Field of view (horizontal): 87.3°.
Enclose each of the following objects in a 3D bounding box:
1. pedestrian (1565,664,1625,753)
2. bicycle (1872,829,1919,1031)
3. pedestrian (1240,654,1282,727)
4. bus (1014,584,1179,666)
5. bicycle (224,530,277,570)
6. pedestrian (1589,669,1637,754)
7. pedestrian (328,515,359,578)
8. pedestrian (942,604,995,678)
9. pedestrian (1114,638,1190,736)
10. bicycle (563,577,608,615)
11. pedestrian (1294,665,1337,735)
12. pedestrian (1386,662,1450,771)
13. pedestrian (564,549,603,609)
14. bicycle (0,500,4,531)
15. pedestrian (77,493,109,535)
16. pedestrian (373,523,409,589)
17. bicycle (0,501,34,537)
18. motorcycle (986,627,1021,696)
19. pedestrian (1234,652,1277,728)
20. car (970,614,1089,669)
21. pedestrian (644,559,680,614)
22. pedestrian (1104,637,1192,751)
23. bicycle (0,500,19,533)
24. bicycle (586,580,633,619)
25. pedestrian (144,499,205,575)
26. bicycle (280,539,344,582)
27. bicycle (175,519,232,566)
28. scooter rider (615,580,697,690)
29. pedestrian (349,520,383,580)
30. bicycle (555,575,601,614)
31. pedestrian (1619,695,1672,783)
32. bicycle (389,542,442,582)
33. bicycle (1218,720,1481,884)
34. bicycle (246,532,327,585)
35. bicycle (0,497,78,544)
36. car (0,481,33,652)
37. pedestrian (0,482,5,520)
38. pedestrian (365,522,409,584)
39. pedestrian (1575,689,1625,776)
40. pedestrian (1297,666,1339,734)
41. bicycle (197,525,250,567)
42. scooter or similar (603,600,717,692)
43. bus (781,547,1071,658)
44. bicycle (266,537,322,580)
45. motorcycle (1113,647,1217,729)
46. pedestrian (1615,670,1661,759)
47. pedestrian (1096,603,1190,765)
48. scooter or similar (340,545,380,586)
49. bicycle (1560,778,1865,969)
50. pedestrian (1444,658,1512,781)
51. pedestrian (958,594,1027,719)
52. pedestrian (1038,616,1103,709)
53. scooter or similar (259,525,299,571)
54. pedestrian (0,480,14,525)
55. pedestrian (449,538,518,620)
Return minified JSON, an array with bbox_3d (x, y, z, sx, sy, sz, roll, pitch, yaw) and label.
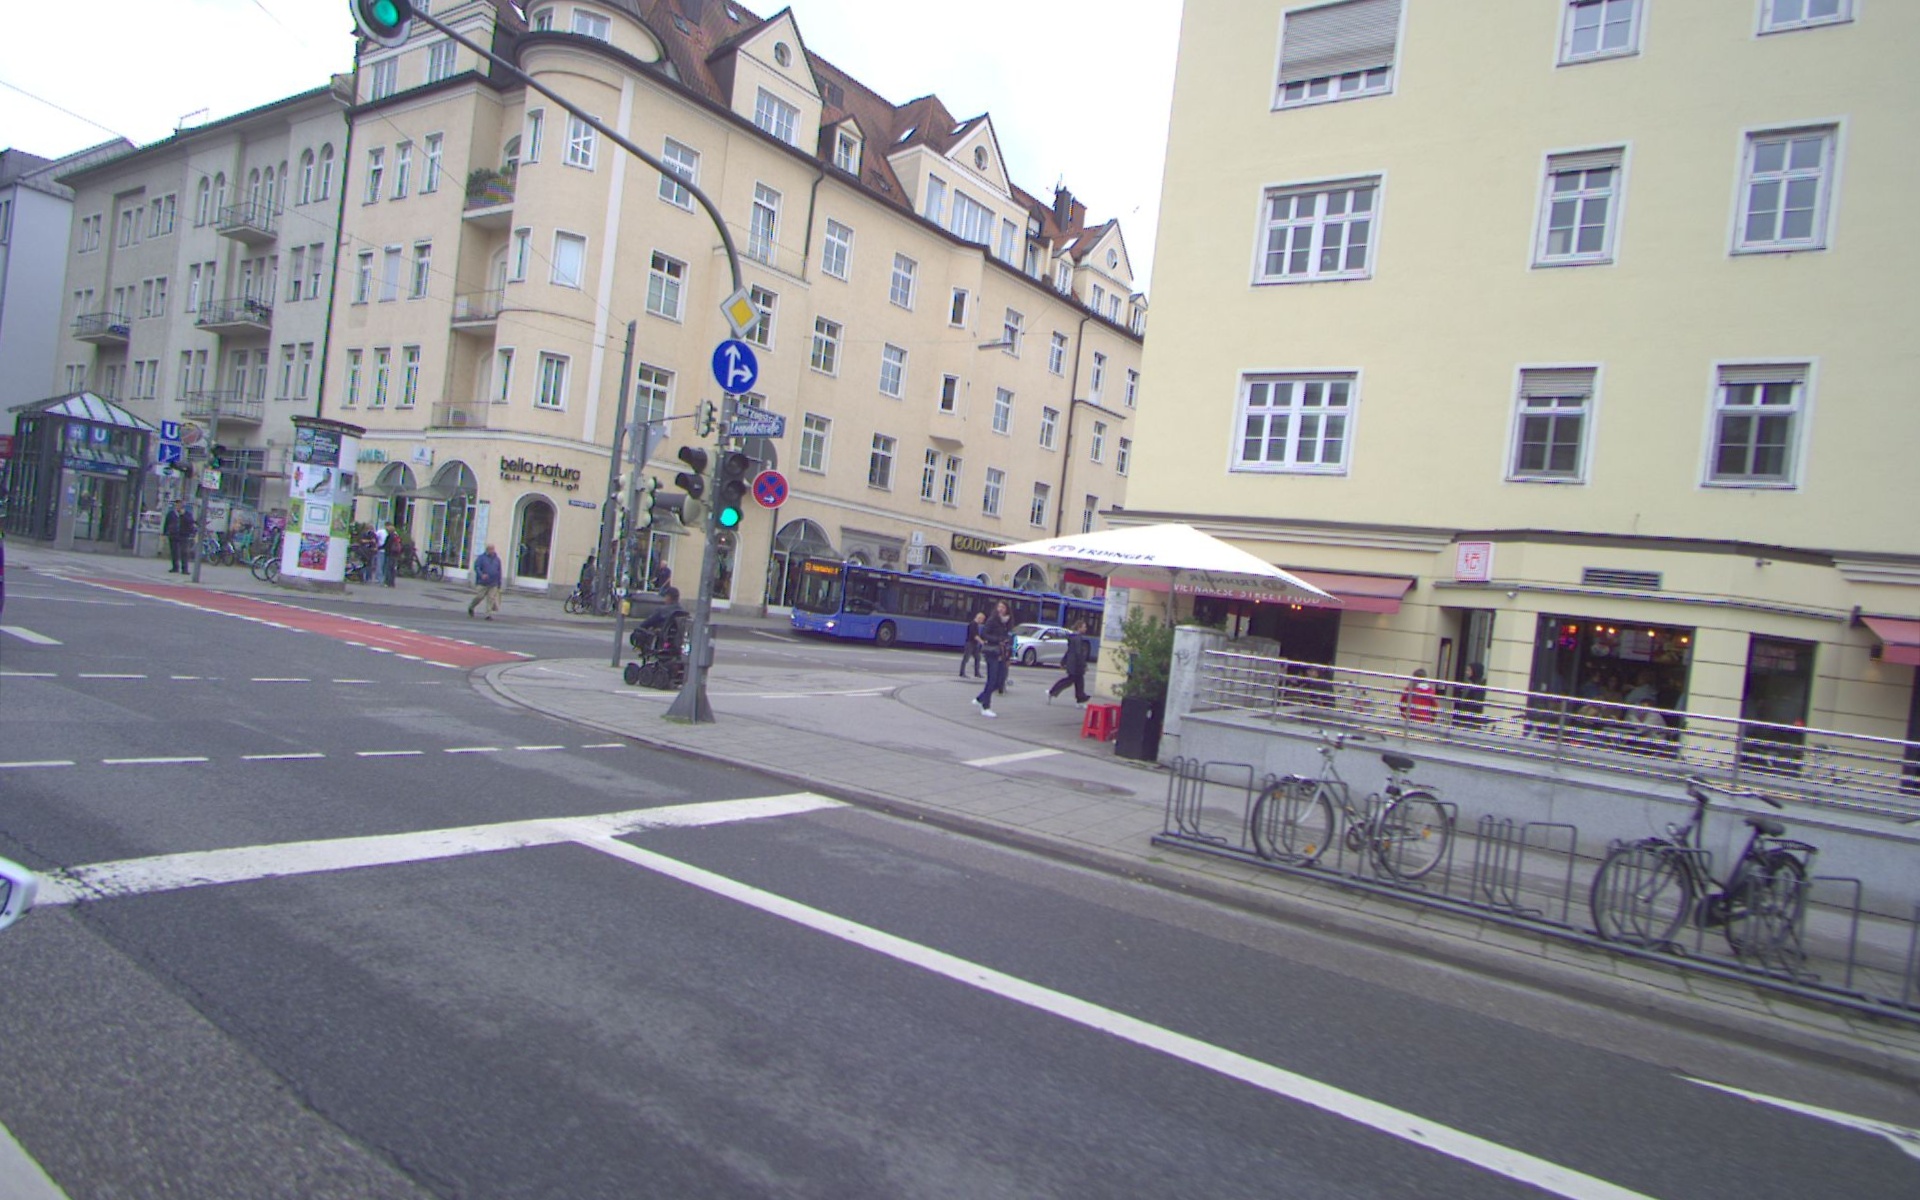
[{"bbox_3d":[10.884,1.849,17.259,0.542,1.414,0.543,7,1,5],"label":"pedestrian"},{"bbox_3d":[5.940,1.849,5.497,1.812,1.008,0.347,6,1,-12],"label":"bicycle"},{"bbox_3d":[5.746,1.722,19.199,0.518,1.315,0.479,7,1,30],"label":"pedestrian"},{"bbox_3d":[6.842,1.313,48.953,2.776,3.004,9.537,9,1,42],"label":"bus"},{"bbox_3d":[-20.500,-1.451,29.058,1.835,0.987,0.495,7,1,32],"label":"bicycle"},{"bbox_3d":[11.476,1.950,17.698,0.543,1.414,0.541,7,1,32],"label":"pedestrian"},{"bbox_3d":[-17.595,-1.521,28.713,0.562,1.693,0.556,7,4,-36],"label":"pedestrian"},{"bbox_3d":[0.200,0.950,23.372,0.756,1.605,0.758,7,1,36],"label":"pedestrian"},{"bbox_3d":[2.877,1.293,15.050,0.783,1.327,0.678,7,0,32],"label":"pedestrian"},{"bbox_3d":[-11.063,-0.107,29.754,0.244,1.046,1.584,7,0,18],"label":"bicycle"},{"bbox_3d":[6.409,1.788,18.126,0.518,1.180,0.479,7,1,30],"label":"pedestrian"},{"bbox_3d":[6.587,1.658,14.455,0.606,1.440,0.676,7,1,32],"label":"pedestrian"},{"bbox_3d":[-11.704,-0.646,31.263,0.736,1.707,0.679,12,4,41],"label":"pedestrian"},{"bbox_3d":[-31.918,-2.828,32.242,0.445,0.976,1.756,7,0,32],"label":"bicycle"},{"bbox_3d":[-37.257,-3.691,43.235,0.745,1.672,0.751,7,2,30],"label":"pedestrian"},{"bbox_3d":[-16.237,-1.256,28.704,0.645,1.774,0.630,7,4,-36],"label":"pedestrian"},{"bbox_3d":[-29.621,-2.551,30.739,0.500,0.976,1.840,7,0,30],"label":"bicycle"},{"bbox_3d":[0.845,1.181,19.720,0.532,1.214,1.767,7,0,2],"label":"motorcycle"},{"bbox_3d":[5.457,1.654,18.595,0.518,1.315,0.479,7,1,30],"label":"pedestrian"},{"bbox_3d":[2.439,1.443,34.553,1.869,1.439,3.979,7,-1,44],"label":"car"},{"bbox_3d":[-10.193,-0.464,34.408,0.736,1.727,0.679,12,4,41],"label":"pedestrian"},{"bbox_3d":[2.420,1.196,12.954,0.783,1.327,0.678,7,0,32],"label":"pedestrian"},{"bbox_3d":[-30.883,-2.715,31.640,0.445,0.976,1.757,7,0,30],"label":"bicycle"},{"bbox_3d":[-10.357,-0.003,29.785,0.350,1.046,1.584,7,0,18],"label":"bicycle"},{"bbox_3d":[-19.010,-1.517,24.375,0.825,1.712,0.815,6,1,-21],"label":"pedestrian"},{"bbox_3d":[-19.770,-1.198,30.678,1.831,1.072,0.496,7,1,17],"label":"bicycle"},{"bbox_3d":[-21.117,-1.617,28.058,1.835,1.121,0.567,7,1,32],"label":"bicycle"},{"bbox_3d":[-4.173,0.482,13.814,0.632,1.406,0.701,7,1,30],"label":"scooter rider"},{"bbox_3d":[-17.340,-1.460,29.366,0.559,1.631,0.560,6,4,-45],"label":"pedestrian"},{"bbox_3d":[-11.316,-0.142,29.816,0.244,1.046,1.584,7,0,18],"label":"bicycle"},{"bbox_3d":[10.989,2.217,16.134,0.543,1.305,0.541,7,1,32],"label":"pedestrian"},{"bbox_3d":[-18.156,-1.262,33.523,1.833,1.103,0.495,7,1,26],"label":"bicycle"},{"bbox_3d":[2.821,1.465,7.263,1.813,1.008,0.347,6,1,-14],"label":"bicycle"},{"bbox_3d":[-17.300,-1.055,25.884,0.516,1.175,1.568,9,2,34],"label":"bicycle"},{"bbox_3d":[-26.580,-2.291,28.811,0.500,1.108,1.840,7,0,30],"label":"bicycle"},{"bbox_3d":[-10.895,-0.554,9.850,3.497,1.608,1.706,7,-2,32],"label":"car"},{"bbox_3d":[-42.980,-4.435,44.622,0.594,1.690,0.682,6,1,-23],"label":"pedestrian"},{"bbox_3d":[-17.070,-1.396,29.978,0.720,1.727,0.645,9,3,2],"label":"pedestrian"},{"bbox_3d":[10.432,2.146,16.407,0.543,1.305,0.541,7,1,32],"label":"pedestrian"},{"bbox_3d":[6.622,1.839,18.615,0.518,1.180,0.479,7,1,30],"label":"pedestrian"},{"bbox_3d":[-20.847,-1.526,28.476,1.835,0.987,0.495,7,1,32],"label":"bicycle"},{"bbox_3d":[-4.126,0.629,13.829,1.235,1.088,0.776,7,1,30],"label":"scooter or similar"},{"bbox_3d":[-0.788,0.332,40.379,2.776,3.004,13.536,9,1,42],"label":"bus"},{"bbox_3d":[-19.899,-1.243,30.038,1.834,1.072,0.495,7,1,28],"label":"bicycle"},{"bbox_3d":[3.467,1.477,17.069,1.545,1.171,0.487,7,1,32],"label":"motorcycle"},{"bbox_3d":[11.430,1.917,16.952,0.481,1.414,0.509,7,1,37],"label":"pedestrian"},{"bbox_3d":[2.209,0.980,12.041,0.842,1.765,0.884,7,1,15],"label":"pedestrian"},{"bbox_3d":[-16.878,-0.974,28.301,0.815,1.007,0.587,7,3,-36],"label":"scooter or similar"},{"bbox_3d":[4.630,1.685,6.179,1.813,1.008,0.347,6,1,-14],"label":"bicycle"},{"bbox_3d":[7.469,1.706,14.502,0.666,1.653,0.615,7,1,32],"label":"pedestrian"},{"bbox_3d":[0.489,0.813,14.816,0.753,1.716,0.761,7,1,6],"label":"pedestrian"},{"bbox_3d":[2.019,1.127,18.322,0.874,1.560,0.732,7,1,17],"label":"pedestrian"},{"bbox_3d":[-19.960,-1.525,29.491,1.133,1.242,0.288,7,1,23],"label":"scooter or similar"},{"bbox_3d":[-38.625,-3.939,40.315,0.746,1.750,0.813,7,2,32],"label":"pedestrian"},{"bbox_3d":[-11.186,-0.490,23.617,1.049,1.777,0.933,7,1,37],"label":"pedestrian"}]
